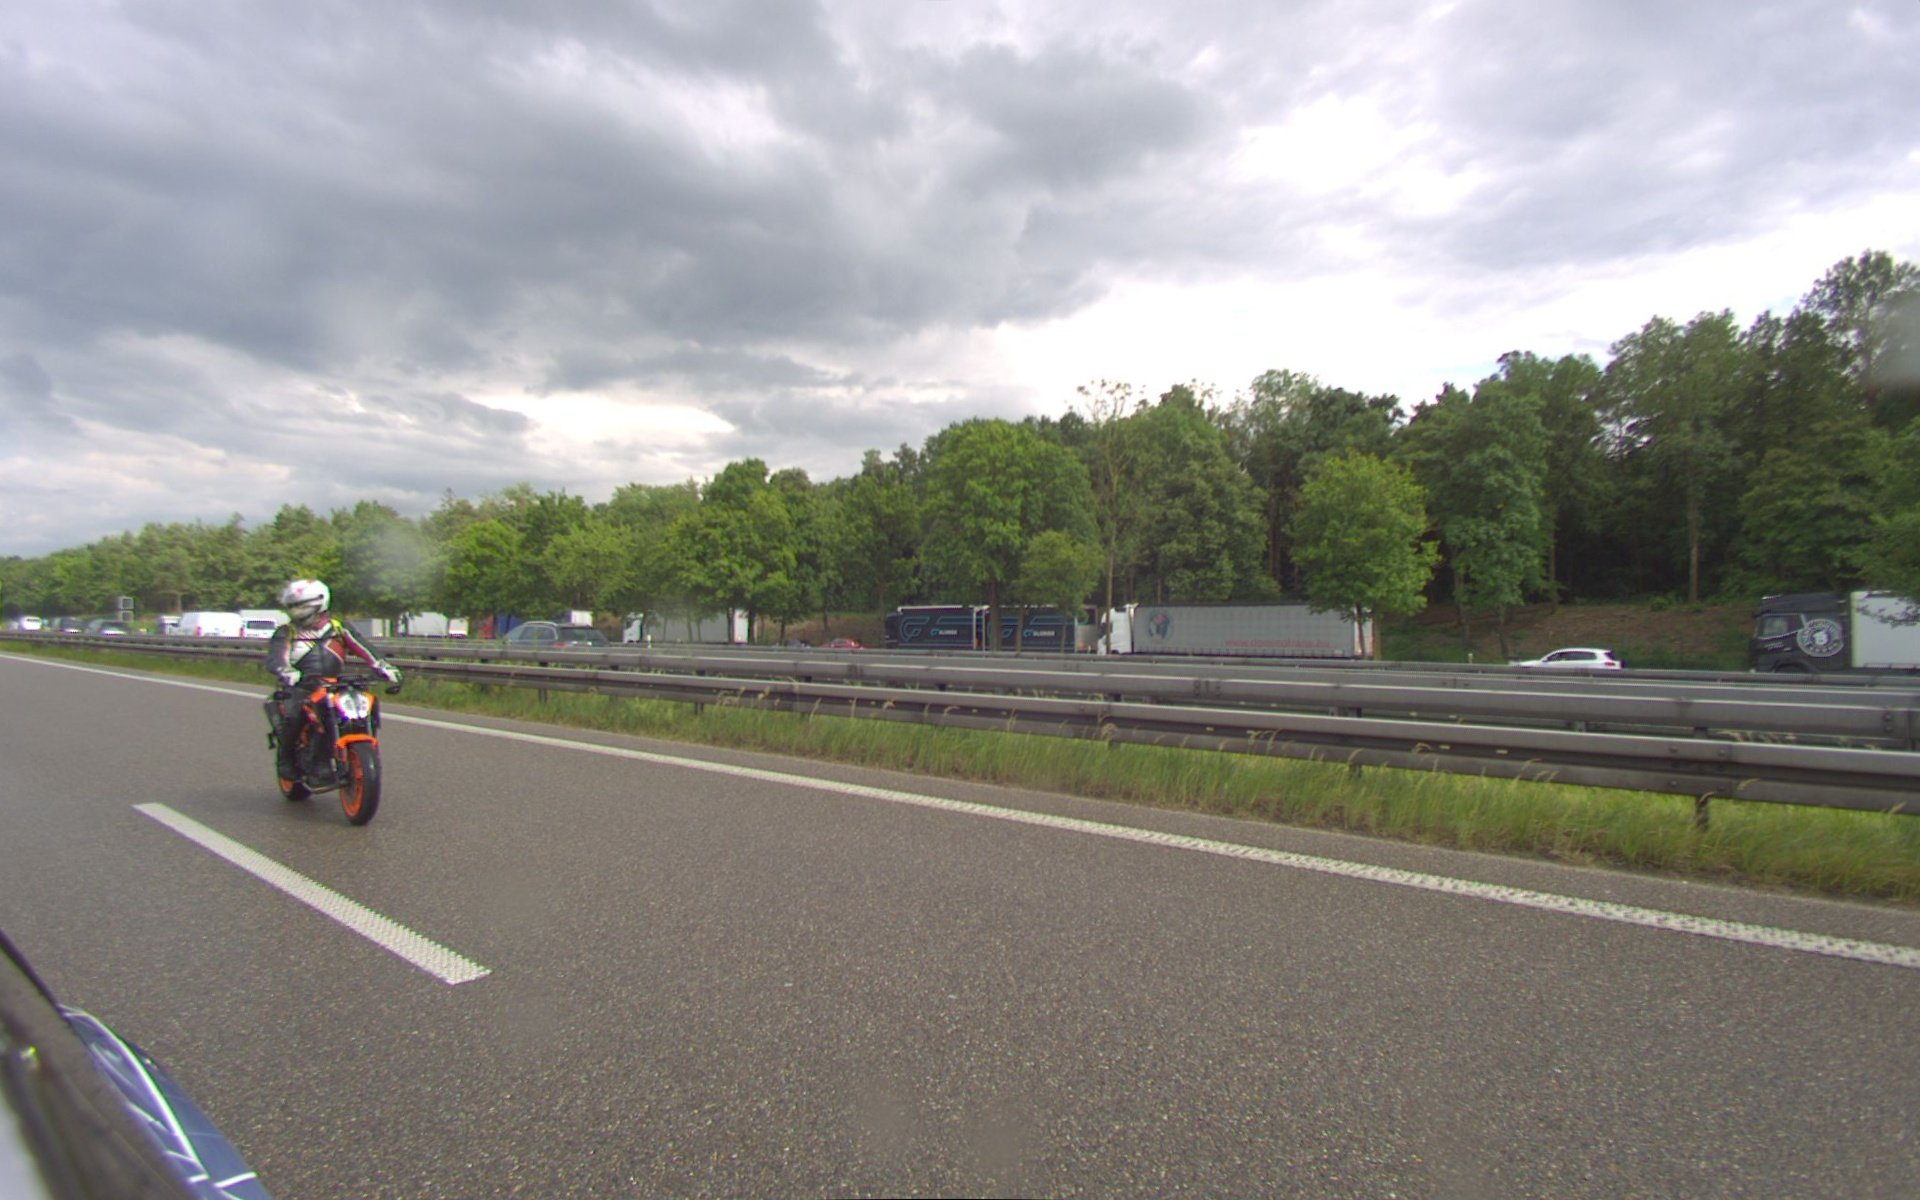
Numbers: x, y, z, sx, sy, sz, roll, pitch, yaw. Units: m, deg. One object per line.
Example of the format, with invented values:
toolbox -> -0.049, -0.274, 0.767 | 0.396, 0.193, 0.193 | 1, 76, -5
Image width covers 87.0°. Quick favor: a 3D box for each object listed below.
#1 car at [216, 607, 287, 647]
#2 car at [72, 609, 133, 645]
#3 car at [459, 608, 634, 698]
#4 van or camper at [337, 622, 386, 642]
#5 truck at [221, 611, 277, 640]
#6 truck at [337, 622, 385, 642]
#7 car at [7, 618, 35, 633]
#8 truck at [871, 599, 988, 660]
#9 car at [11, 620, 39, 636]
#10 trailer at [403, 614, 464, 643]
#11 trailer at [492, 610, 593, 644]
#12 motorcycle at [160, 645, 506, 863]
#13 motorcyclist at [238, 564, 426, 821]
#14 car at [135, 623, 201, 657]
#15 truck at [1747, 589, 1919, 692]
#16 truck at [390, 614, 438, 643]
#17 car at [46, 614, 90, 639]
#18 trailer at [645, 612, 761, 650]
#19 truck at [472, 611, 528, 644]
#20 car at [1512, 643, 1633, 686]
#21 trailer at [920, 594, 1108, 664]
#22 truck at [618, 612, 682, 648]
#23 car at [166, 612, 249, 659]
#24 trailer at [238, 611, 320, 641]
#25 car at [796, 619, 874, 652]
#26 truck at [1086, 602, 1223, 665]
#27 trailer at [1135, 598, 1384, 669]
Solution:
car -> -39.329, 1.461, 56.133 | 4.648, 2.061, 2.152 | -1, 0, 40
car -> -52.818, 1.637, 62.303 | 4.648, 2.061, 2.152 | -1, 0, 40
car -> -10.768, 1.271, 26.162 | 5.205, 2.061, 2.030 | -1, 0, 40
van or camper -> -73.322, 3.917, 123.963 | 6.292, 2.282, 2.105 | -1, -1, 28
truck -> -94.261, 3.397, 134.183 | 6.880, 3.732, 3.189 | -1, 0, 26
truck -> -73.405, 3.919, 124.060 | 6.288, 2.282, 2.105 | -1, -1, 28
car -> -123.311, 3.278, 132.901 | 5.256, 1.905, 2.026 | -1, 0, 40
truck -> -2.330, 2.132, 75.427 | 8.413, 4.266, 3.748 | -1, 0, 41
car -> -118.768, 3.526, 128.564 | 5.256, 1.905, 2.026 | -1, 0, 40
trailer -> -60.602, 3.229, 116.533 | 7.712, 3.257, 2.560 | -1, -1, 31
trailer -> -43.833, 2.807, 105.941 | 13.388, 3.431, 2.800 | -1, -2, 34
motorcycle -> -4.835, 1.008, 7.665 | 3.189, 1.235, 1.174 | -1, 0, 37
motorcyclist -> -4.596, 0.618, 7.411 | 0.999, 1.719, 0.872 | -1, 0, 38
car -> -52.402, 2.595, 66.900 | 6.495, 2.061, 2.152 | -1, 0, 40
truck -> 34.694, 1.463, 38.763 | 3.744, 3.688, 6.710 | -1, 0, -44
truck -> -63.905, 3.285, 118.405 | 5.066, 3.292, 2.636 | -1, 0, 30
car -> -70.279, 2.060, 79.703 | 5.055, 1.905, 1.933 | -1, 0, 40
trailer -> -23.442, 2.763, 91.705 | 12.458, 3.241, 3.315 | -1, -2, 38
truck -> -50.104, 2.935, 110.143 | 5.880, 3.482, 2.837 | -1, 0, 33
car -> 27.866, 2.888, 46.128 | 4.368, 1.731, 2.036 | -1, 0, 43
trailer -> 3.461, 1.984, 70.368 | 13.796, 4.439, 3.749 | -1, -2, 42
truck -> -29.599, 2.838, 96.573 | 5.498, 3.298, 3.322 | -1, 0, 37
car -> -35.619, 1.644, 47.834 | 5.205, 2.061, 2.030 | -1, 0, 40
trailer -> -88.390, 3.336, 131.269 | 12.504, 3.767, 3.185 | -1, -2, 27
car -> -10.106, 2.808, 81.596 | 6.207, 2.501, 2.764 | -1, 0, 41
truck -> 11.868, 1.962, 62.129 | 7.351, 3.616, 3.748 | -1, 0, 41
trailer -> 16.715, 1.880, 57.802 | 13.340, 3.677, 3.749 | -1, -2, 42
